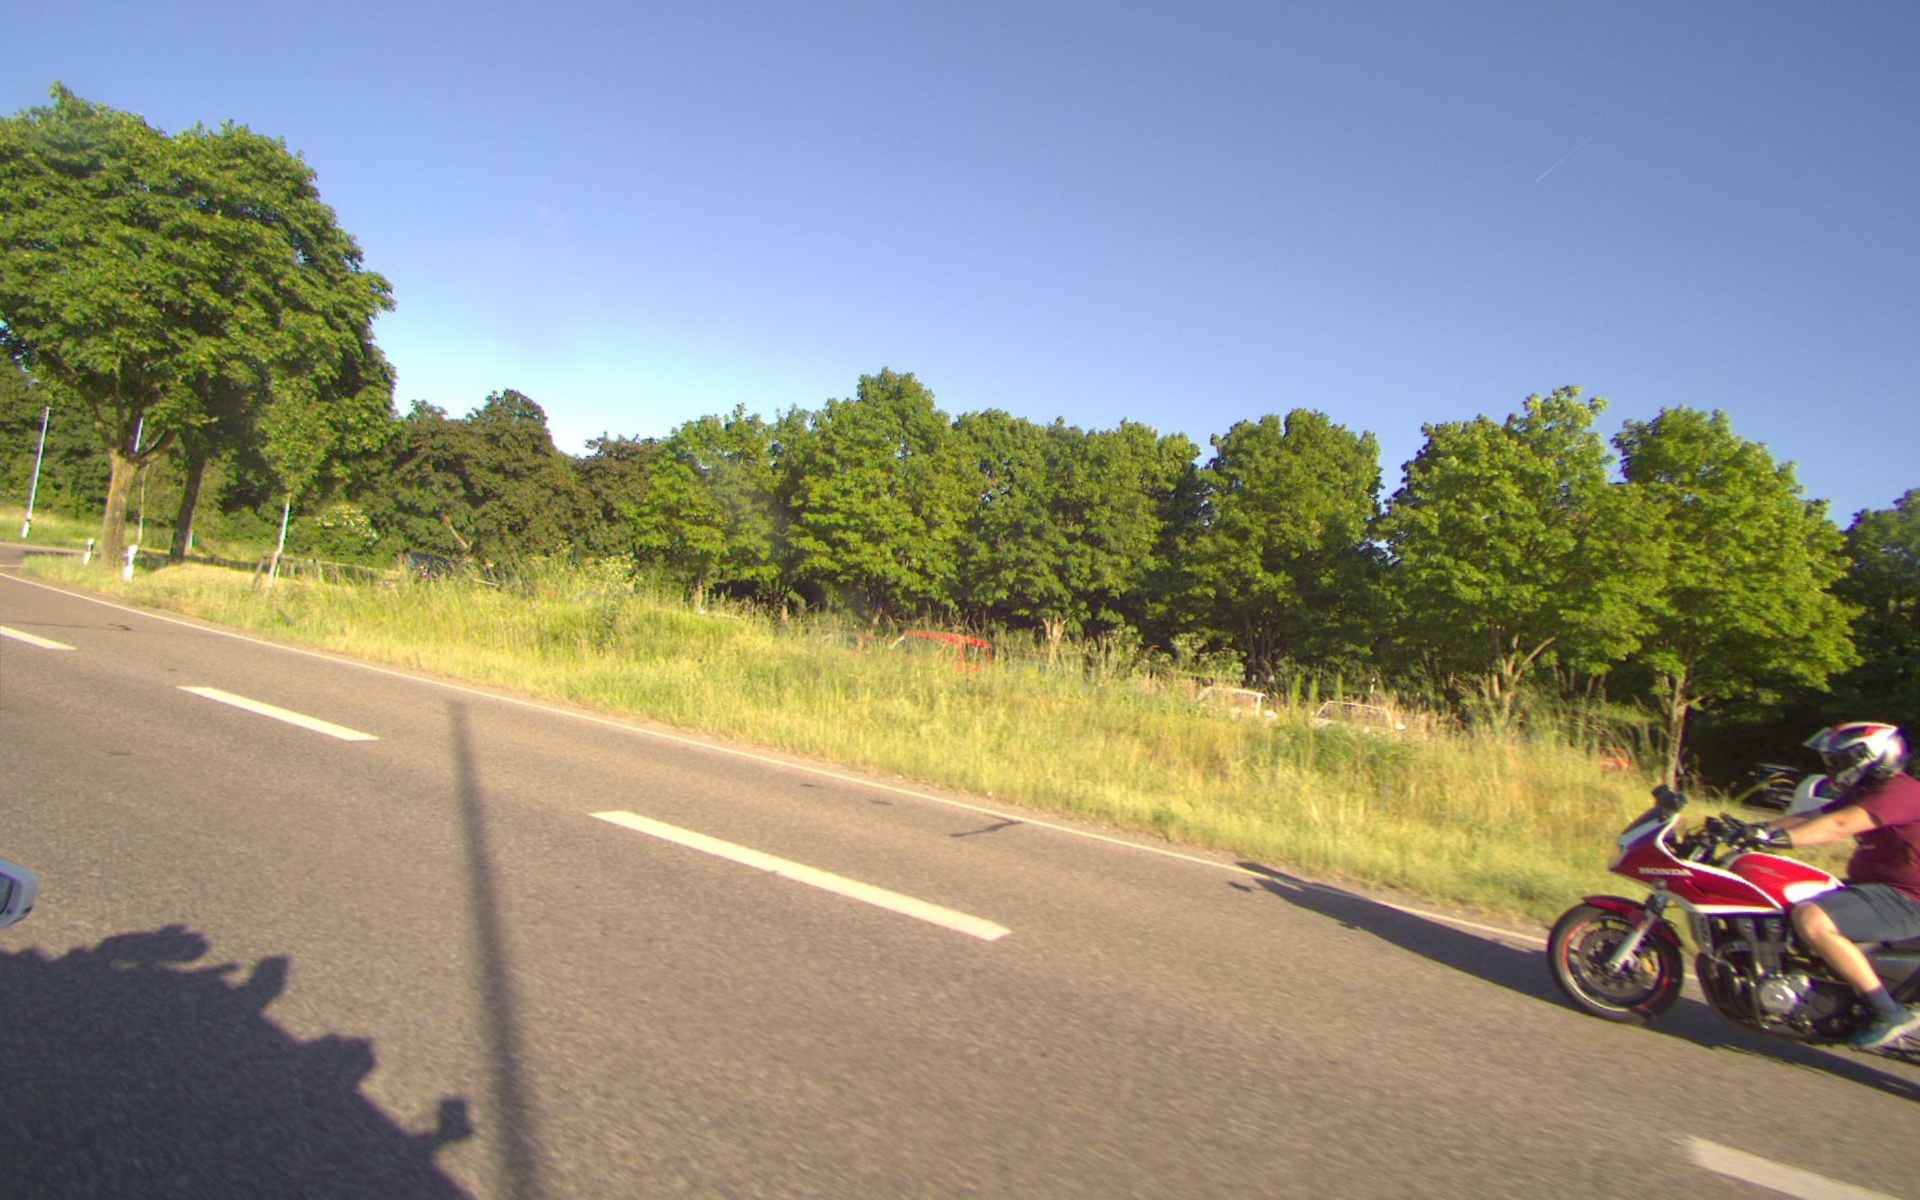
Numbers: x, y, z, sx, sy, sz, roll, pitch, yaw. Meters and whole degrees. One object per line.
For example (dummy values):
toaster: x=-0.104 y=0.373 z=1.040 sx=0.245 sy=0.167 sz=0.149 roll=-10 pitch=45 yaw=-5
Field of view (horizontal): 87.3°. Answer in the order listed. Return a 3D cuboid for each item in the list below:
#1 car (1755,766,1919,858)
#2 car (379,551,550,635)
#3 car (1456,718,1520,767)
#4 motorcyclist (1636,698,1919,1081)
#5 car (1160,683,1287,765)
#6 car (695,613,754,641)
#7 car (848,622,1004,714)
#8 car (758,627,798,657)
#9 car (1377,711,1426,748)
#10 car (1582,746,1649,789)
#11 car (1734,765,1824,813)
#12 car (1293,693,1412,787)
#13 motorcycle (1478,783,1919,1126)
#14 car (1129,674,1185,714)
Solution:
car: x=17.705 y=4.049 z=18.810 sx=1.964 sy=1.320 sz=3.987 roll=7 pitch=-5 yaw=-21
car: x=-18.063 y=-0.194 z=36.931 sx=2.062 sy=2.157 sz=5.044 roll=5 pitch=-6 yaw=36
car: x=18.635 y=5.015 z=35.629 sx=1.834 sy=1.439 sz=4.125 roll=3 pitch=-5 yaw=27
motorcyclist: x=3.938 y=1.275 z=4.745 sx=1.075 sy=1.464 sz=0.818 roll=6 pitch=-2 yaw=32
car: x=5.926 y=2.733 z=22.309 sx=1.891 sy=1.475 sz=3.945 roll=3 pitch=-5 yaw=27
car: x=-18.235 y=2.115 z=78.061 sx=3.957 sy=1.594 sz=1.897 roll=9 pitch=-2 yaw=-28
car: x=-0.768 y=1.878 z=26.782 sx=1.991 sy=2.044 sz=4.806 roll=3 pitch=-5 yaw=27
car: x=-11.307 y=2.674 z=62.832 sx=1.756 sy=1.577 sz=4.230 roll=8 pitch=-3 yaw=-2
car: x=20.526 y=5.992 z=46.690 sx=1.834 sy=1.439 sz=4.125 roll=3 pitch=-5 yaw=27
car: x=27.630 y=7.009 z=42.499 sx=1.834 sy=1.439 sz=4.125 roll=3 pitch=-5 yaw=27
car: x=32.189 y=7.392 z=39.673 sx=1.834 sy=1.439 sz=4.125 roll=3 pitch=-5 yaw=27
car: x=8.314 y=2.889 z=21.083 sx=1.891 sy=1.575 sz=4.125 roll=3 pitch=-5 yaw=27
motorcycle: x=4.034 y=1.657 z=4.638 sx=2.789 sy=1.082 sz=0.818 roll=6 pitch=-2 yaw=32
car: x=10.431 y=4.957 z=53.016 sx=1.911 sy=1.796 sz=4.601 roll=5 pitch=-3 yaw=23
